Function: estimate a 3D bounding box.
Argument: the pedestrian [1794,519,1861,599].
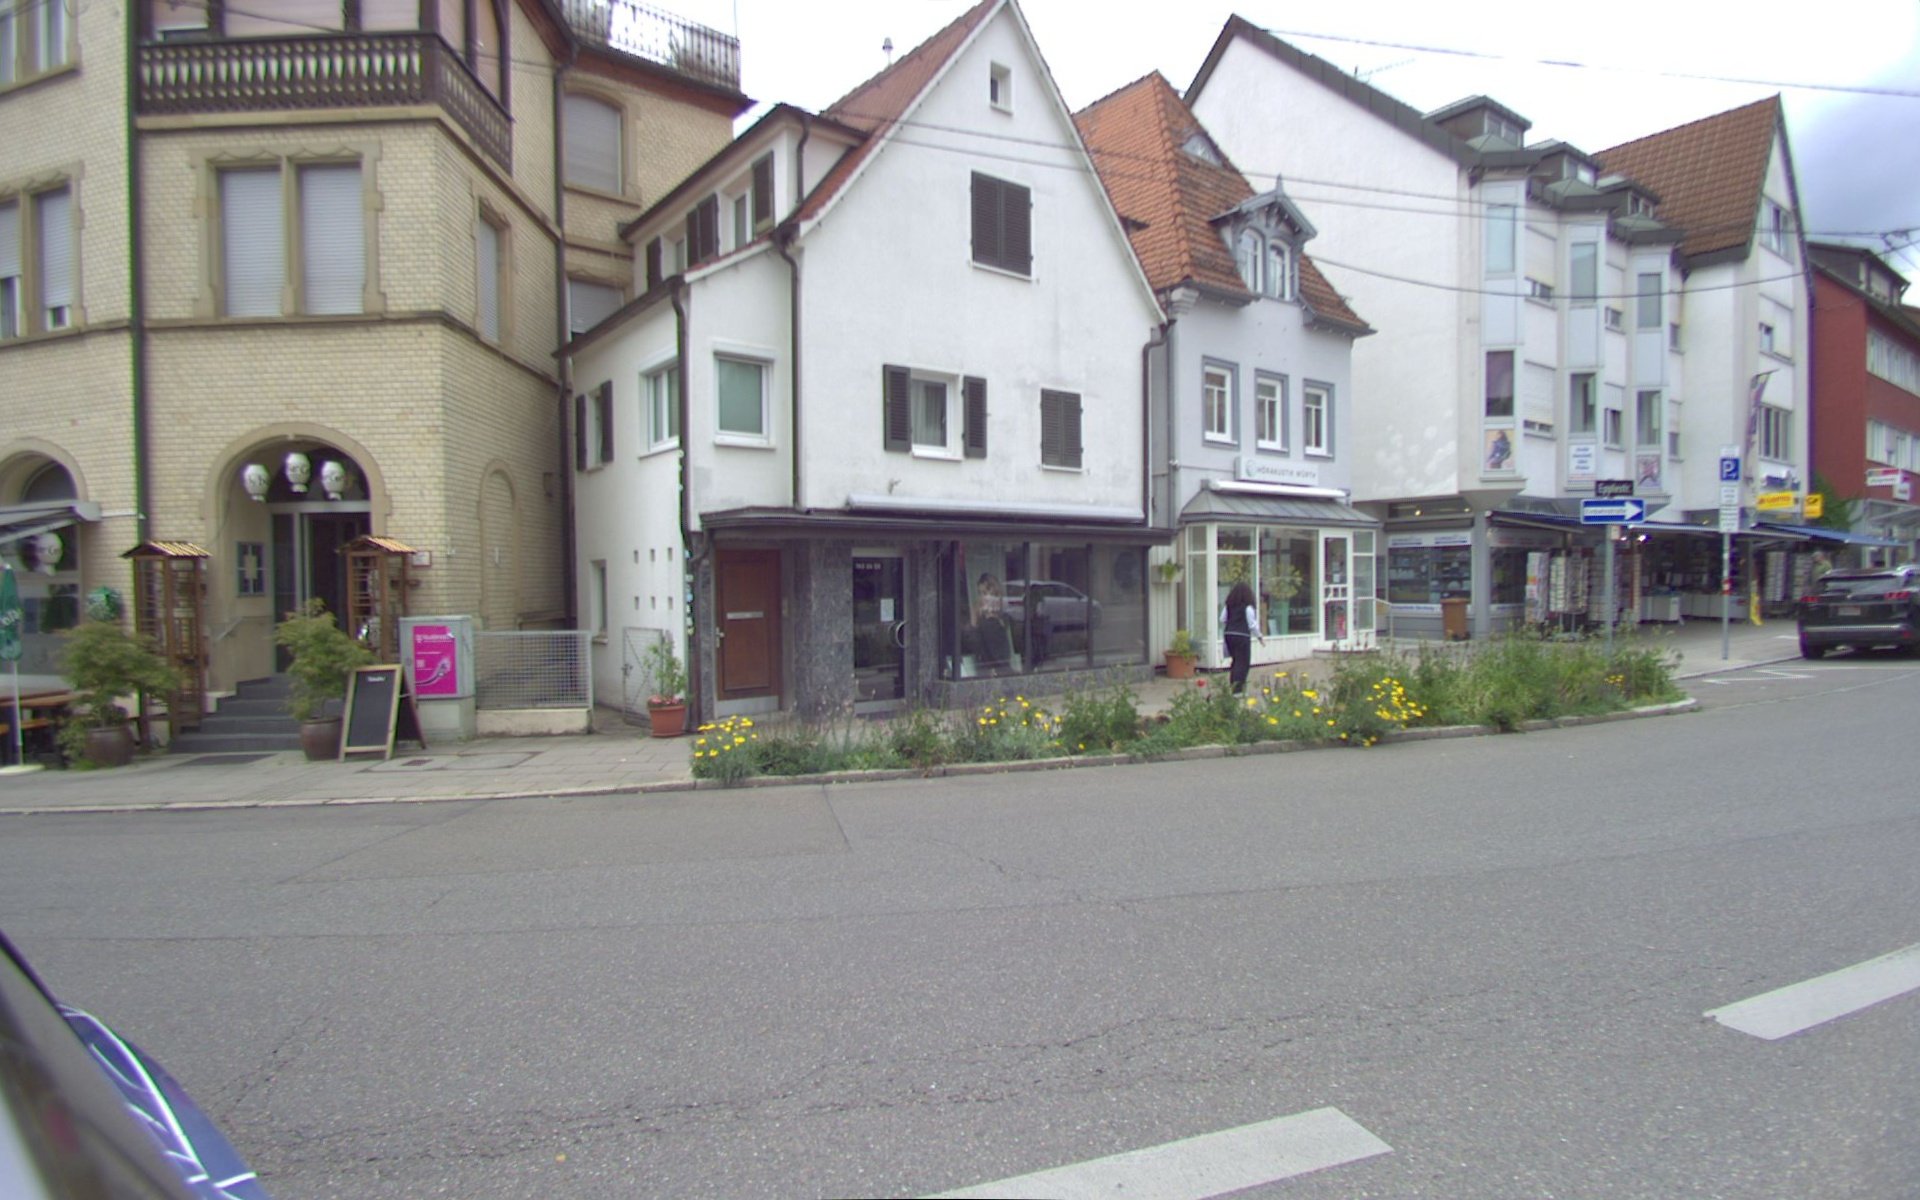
[{"bbox_3d":[22.747,-1.069,26.534,0.997,2.028,1.108,-3,1,-37],"label":"pedestrian"}]

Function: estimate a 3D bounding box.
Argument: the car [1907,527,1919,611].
[{"bbox_3d":[22.120,-0.717,21.526,4.354,1.745,2.005,-2,0,-35],"label":"car"}]

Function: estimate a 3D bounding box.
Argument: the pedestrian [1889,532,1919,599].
[{"bbox_3d":[29.325,-1.061,30.966,0.997,2.028,1.108,-3,1,-38],"label":"pedestrian"}]

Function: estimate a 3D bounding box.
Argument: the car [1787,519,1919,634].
[{"bbox_3d":[16.922,-0.434,18.235,3.933,1.868,2.006,-2,0,-33],"label":"car"}]

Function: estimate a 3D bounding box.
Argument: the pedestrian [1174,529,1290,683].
[{"bbox_3d":[3.757,0.066,14.023,0.997,2.028,1.109,-3,1,-34],"label":"pedestrian"}]
